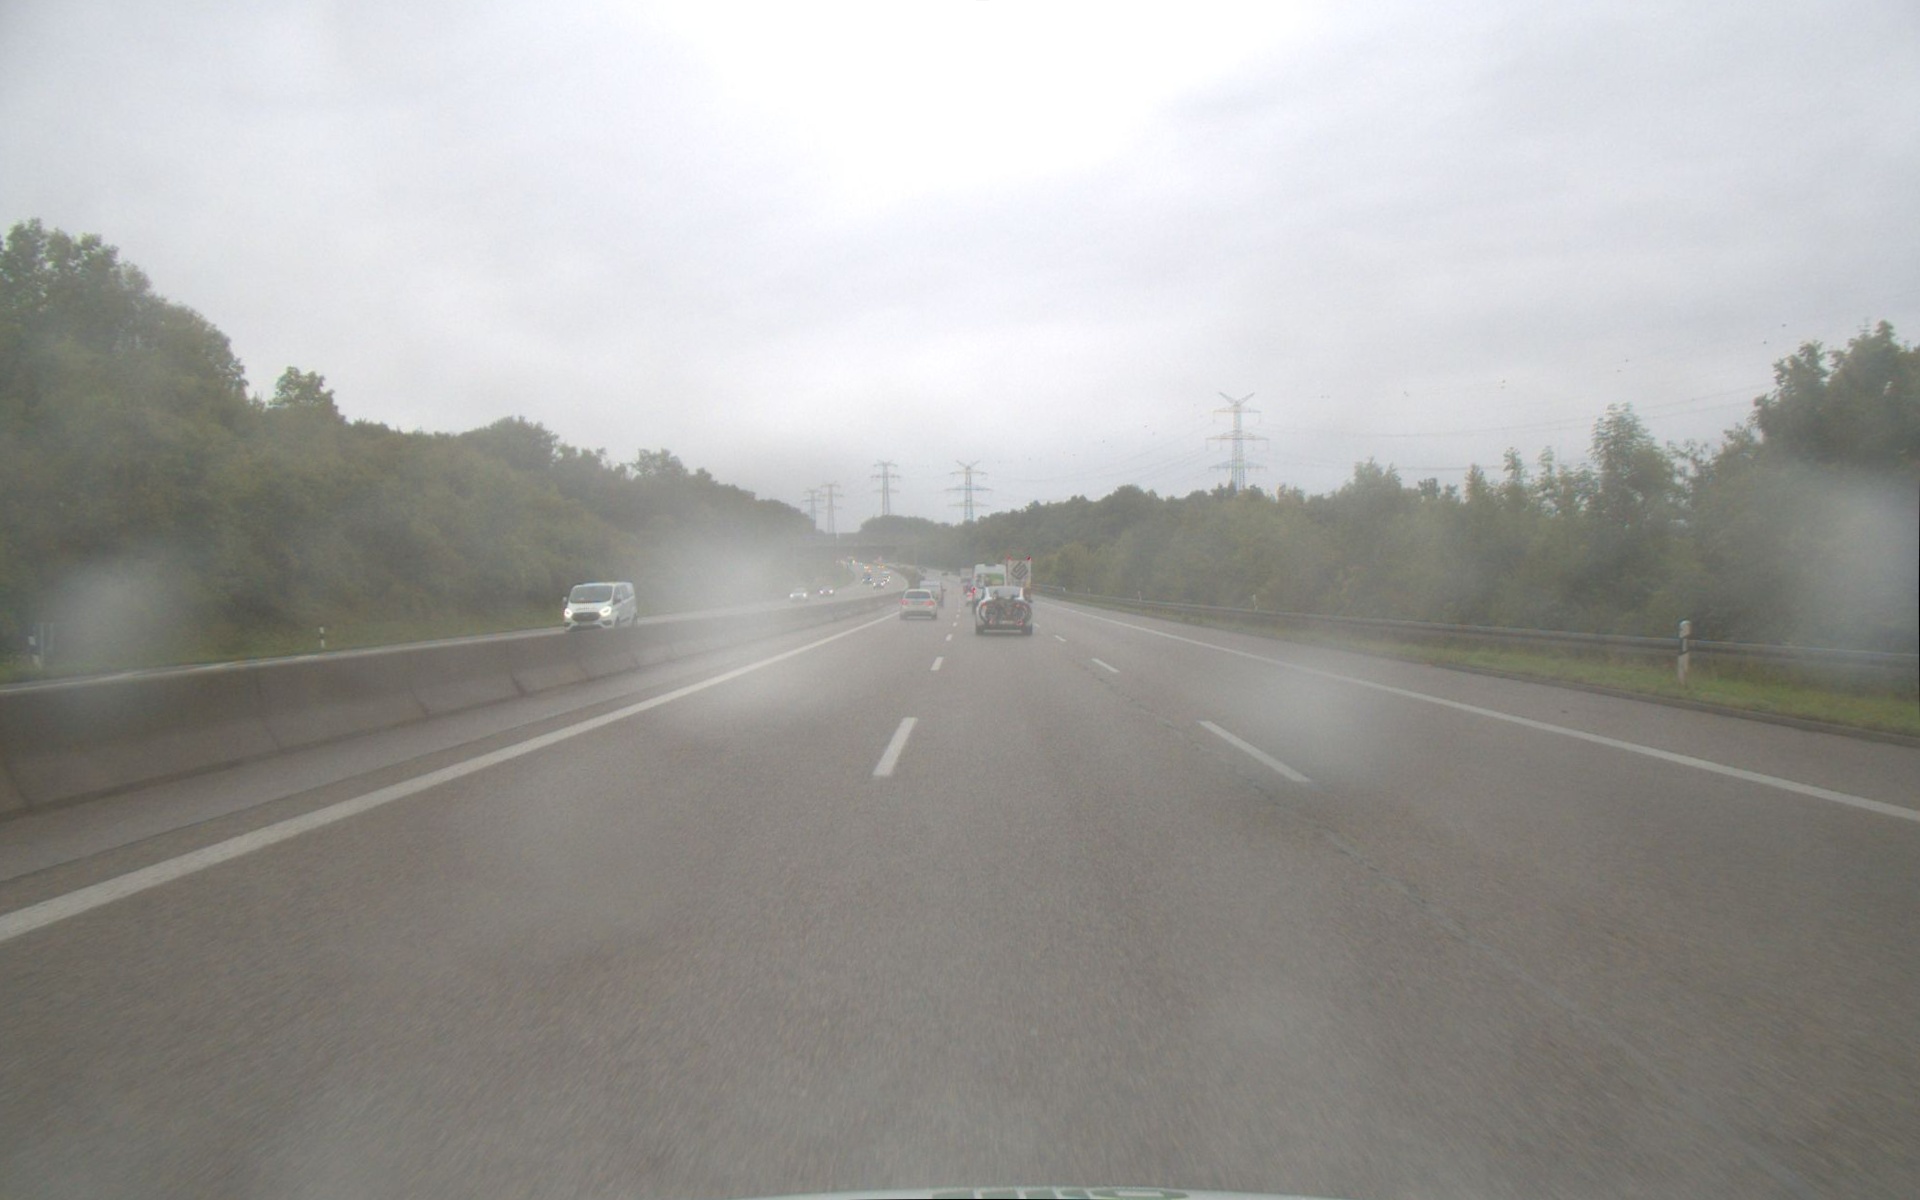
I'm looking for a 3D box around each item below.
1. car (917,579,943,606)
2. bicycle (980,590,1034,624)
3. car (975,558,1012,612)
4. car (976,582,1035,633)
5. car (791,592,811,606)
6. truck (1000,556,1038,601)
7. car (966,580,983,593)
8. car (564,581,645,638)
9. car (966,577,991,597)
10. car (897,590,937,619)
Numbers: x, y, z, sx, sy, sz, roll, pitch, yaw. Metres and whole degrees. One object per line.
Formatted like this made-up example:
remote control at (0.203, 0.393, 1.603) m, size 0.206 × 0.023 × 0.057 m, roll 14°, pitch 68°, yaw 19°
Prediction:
car at (-2.105, -0.507, 116.601) m, size 1.808 × 1.803 × 3.999 m, roll 1°, pitch 0°, yaw -1°
bicycle at (1.506, 0.227, 53.460) m, size 1.718 × 1.109 × 0.913 m, roll 0°, pitch 0°, yaw -2°
car at (1.880, -0.830, 93.795) m, size 1.952 × 2.914 × 4.000 m, roll -1°, pitch 0°, yaw 1°
car at (1.504, 0.226, 56.407) m, size 1.822 × 1.595 × 4.964 m, roll 1°, pitch 1°, yaw -1°
car at (-17.303, -0.128, 180.042) m, size 1.761 × 1.475 × 4.628 m, roll -1°, pitch 0°, yaw -1°
truck at (5.932, -2.165, 167.625) m, size 3.529 × 4.407 × 13.201 m, roll 0°, pitch 1°, yaw 1°
car at (1.847, -1.746, 212.550) m, size 1.953 × 1.601 × 3.999 m, roll -1°, pitch 0°, yaw -1°
car at (-13.600, 0.354, 63.631) m, size 1.953 × 2.049 × 5.760 m, roll -1°, pitch 0°, yaw -1°
car at (1.410, -1.016, 126.243) m, size 1.819 × 1.447 × 4.000 m, roll 0°, pitch 1°, yaw 0°
car at (-2.057, 0.195, 79.195) m, size 1.829 × 1.310 × 3.999 m, roll -1°, pitch 0°, yaw -1°
